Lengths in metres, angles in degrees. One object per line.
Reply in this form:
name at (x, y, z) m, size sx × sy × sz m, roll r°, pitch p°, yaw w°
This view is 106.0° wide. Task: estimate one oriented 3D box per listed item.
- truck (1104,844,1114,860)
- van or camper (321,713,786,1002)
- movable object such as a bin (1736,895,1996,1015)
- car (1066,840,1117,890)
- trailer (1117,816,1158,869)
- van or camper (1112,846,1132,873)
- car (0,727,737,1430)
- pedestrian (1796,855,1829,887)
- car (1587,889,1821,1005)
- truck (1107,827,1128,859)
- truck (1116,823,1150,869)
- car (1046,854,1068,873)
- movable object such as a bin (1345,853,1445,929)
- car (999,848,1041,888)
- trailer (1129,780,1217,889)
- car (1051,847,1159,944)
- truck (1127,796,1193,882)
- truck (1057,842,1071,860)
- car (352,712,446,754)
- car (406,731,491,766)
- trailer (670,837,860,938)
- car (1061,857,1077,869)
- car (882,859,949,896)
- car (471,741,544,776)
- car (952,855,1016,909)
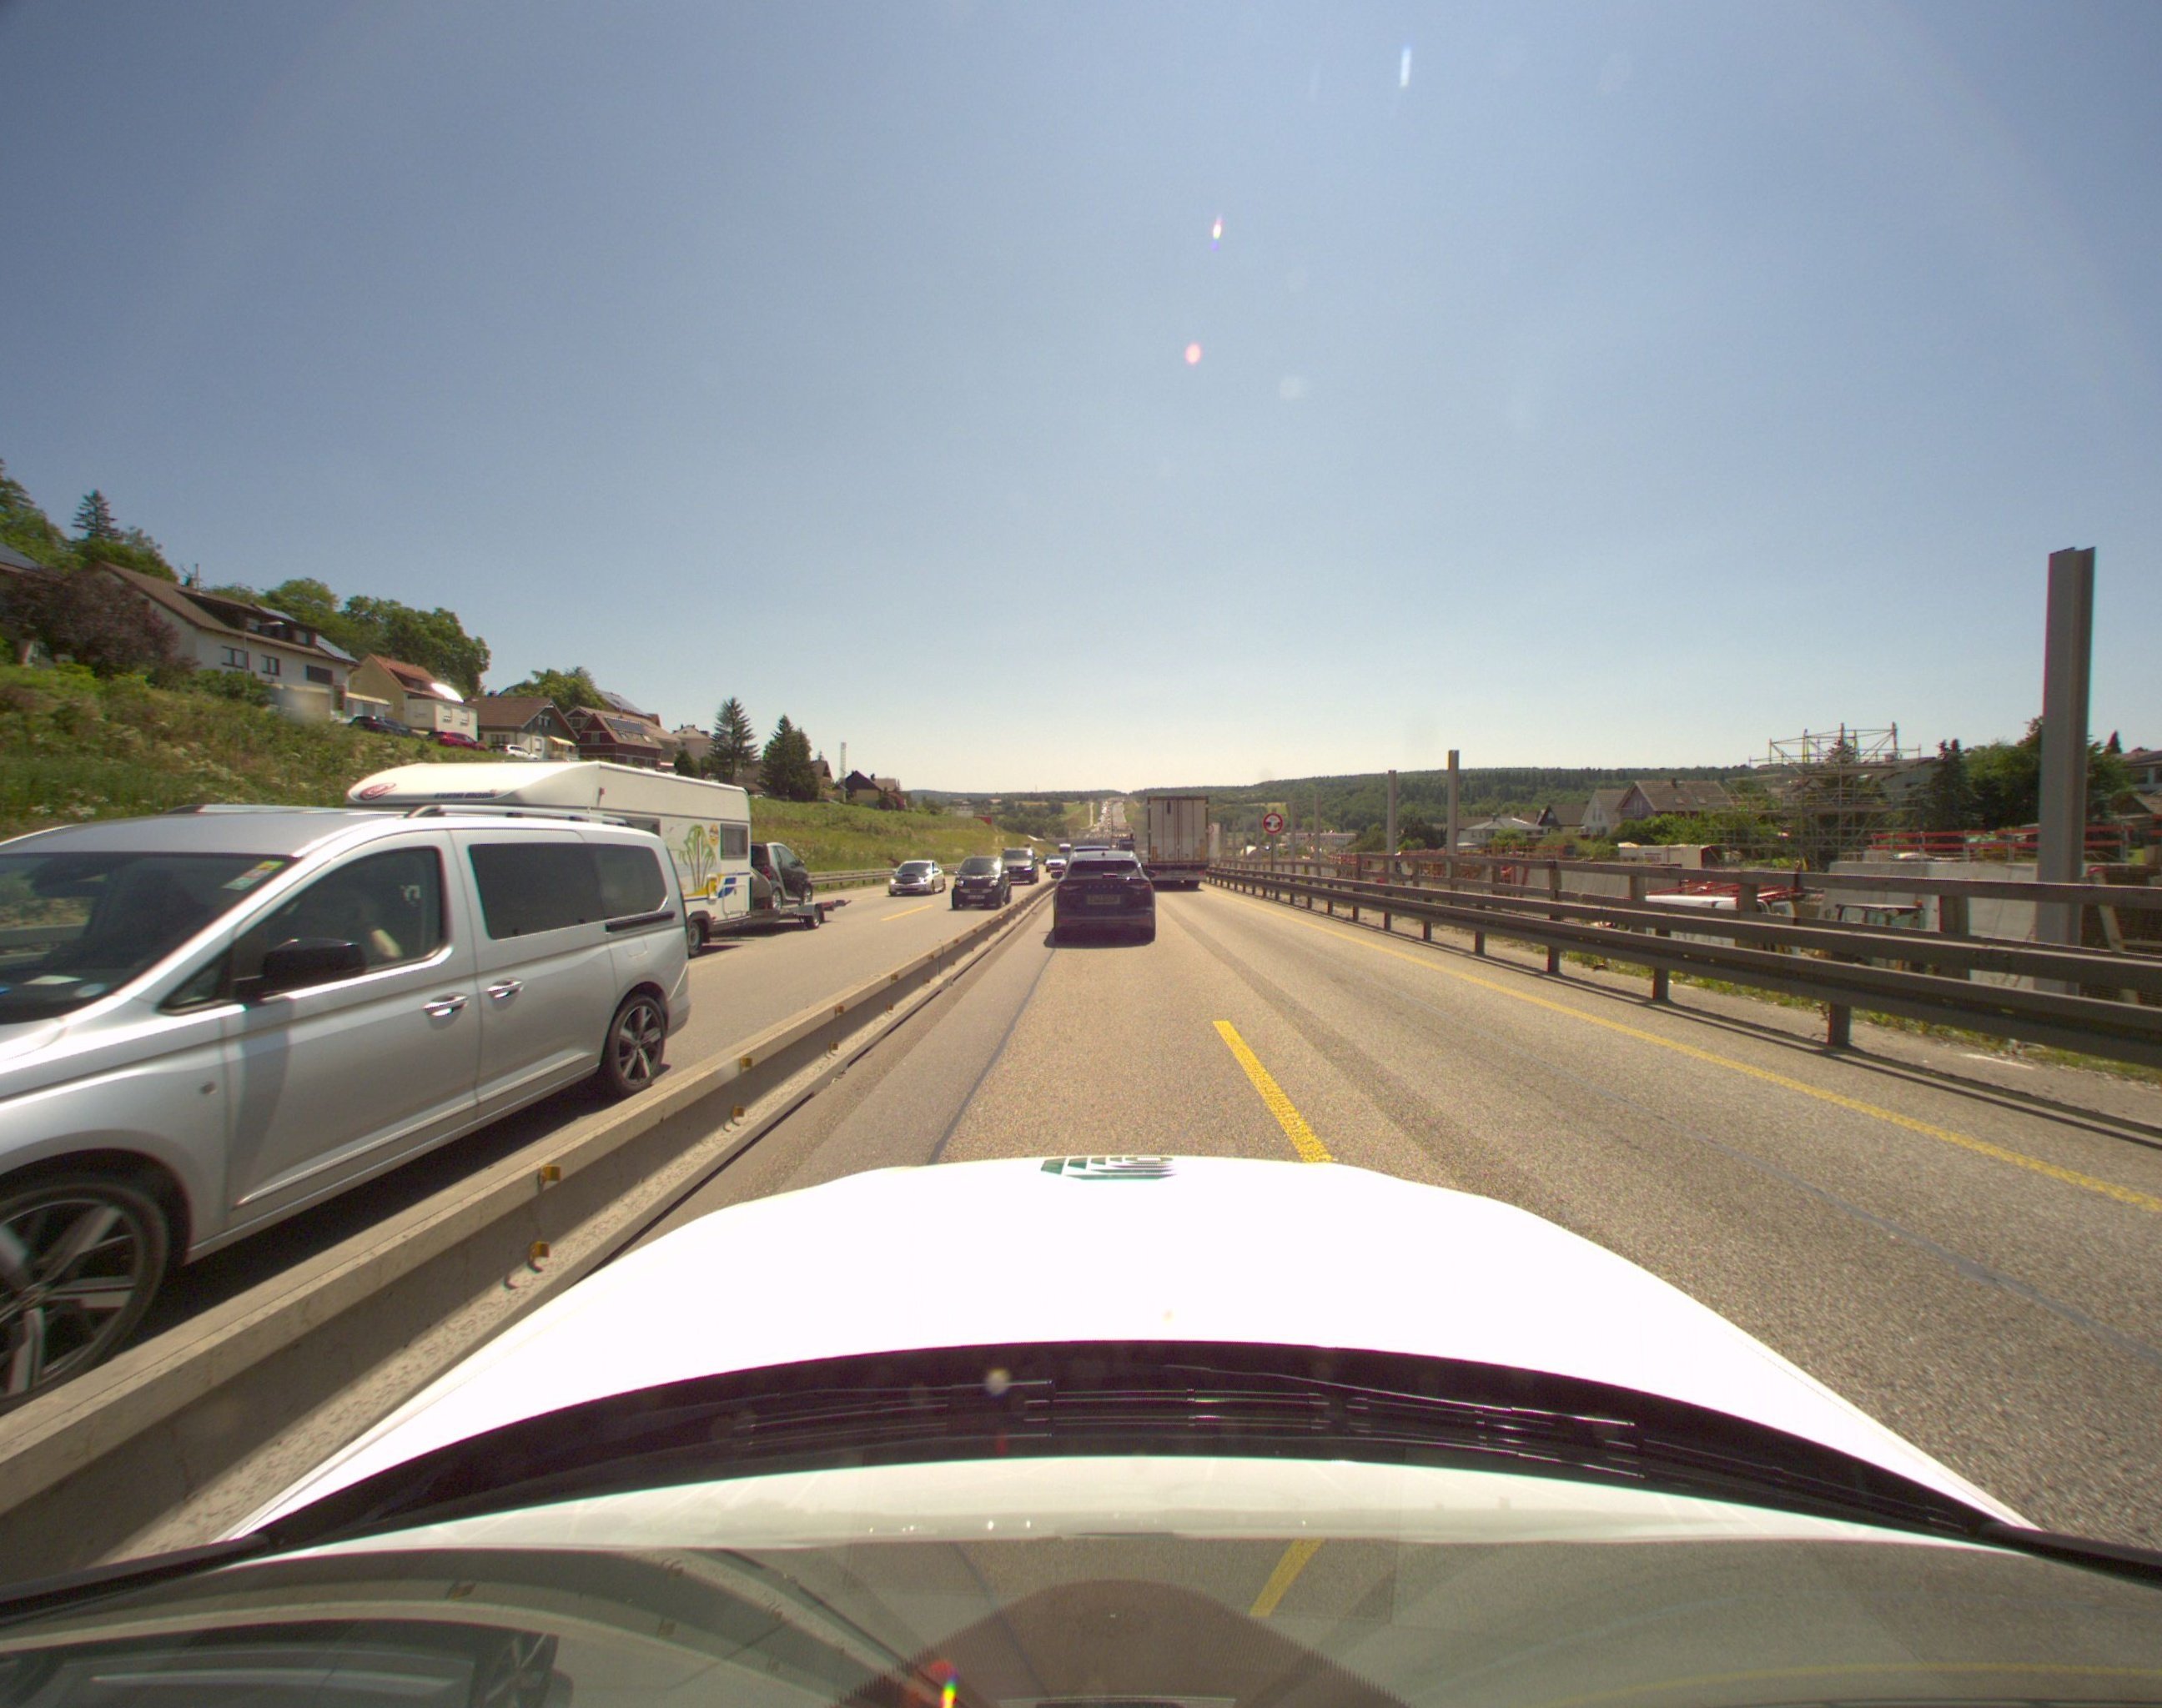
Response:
truck at (7.850, -0.508, 229.464) m, size 2.630 × 4.194 × 9.286 m, roll -1°, pitch -1°, yaw 1°
van or camper at (-6.898, 0.048, 12.167) m, size 2.283 × 3.066 × 6.925 m, roll -1°, pitch 0°, yaw 1°
movable object such as a bin at (21.016, 2.564, 22.285) m, size 2.134 × 2.676 × 5.508 m, roll -1°, pitch -1°, yaw 6°
car at (0.455, 0.481, 34.518) m, size 1.986 × 1.926 × 4.508 m, roll -1°, pitch -1°, yaw 1°
trailer at (5.157, -0.849, 77.447) m, size 3.169 × 4.513 × 14.969 m, roll -1°, pitch -1°, yaw 1°
van or camper at (5.198, 0.733, 102.651) m, size 2.378 × 3.281 × 6.474 m, roll -1°, pitch -1°, yaw 3°
car at (-3.709, 0.597, 3.993) m, size 1.831 × 1.828 × 5.040 m, roll -1°, pitch 0°, yaw 1°
pedestrian at (46.329, 1.060, 51.581) m, size 1.132 × 1.988 × 0.974 m, roll -1°, pitch -2°, yaw 4°
car at (18.308, 2.561, 24.620) m, size 2.135 × 2.856 × 7.031 m, roll -1°, pitch -1°, yaw 5°
truck at (5.625, -1.632, 127.415) m, size 2.842 × 4.465 × 11.917 m, roll -1°, pitch -1°, yaw 1°
truck at (5.338, -0.688, 84.622) m, size 3.169 × 4.513 × 8.166 m, roll -1°, pitch -1°, yaw 1°
car at (-2.144, 0.827, 73.732) m, size 1.800 × 1.640 × 4.172 m, roll -1°, pitch 0°, yaw 0°
movable object such as a bin at (21.272, 2.415, 55.909) m, size 3.216 × 4.743 × 9.656 m, roll -1°, pitch -1°, yaw 1°
car at (-3.257, 0.730, 44.331) m, size 1.904 × 2.014 × 4.905 m, roll -1°, pitch 0°, yaw 0°
trailer at (4.242, -0.834, 40.705) m, size 3.169 × 4.513 × 13.112 m, roll -1°, pitch 0°, yaw 1°
car at (0.473, 0.714, 15.651) m, size 1.795 × 1.607 × 4.002 m, roll -1°, pitch -1°, yaw 2°
truck at (4.385, -0.800, 47.195) m, size 3.169 × 4.513 × 8.168 m, roll -1°, pitch 0°, yaw 1°
truck at (-3.588, -0.702, 172.259) m, size 2.769 × 3.672 × 6.278 m, roll -1°, pitch 0°, yaw 1°
car at (-42.894, -7.562, 51.376) m, size 2.175 × 1.794 × 4.754 m, roll -1°, pitch -1°, yaw -5°
car at (-44.555, -7.405, 57.549) m, size 2.341 × 1.794 × 4.797 m, roll -1°, pitch -1°, yaw -2°
trailer at (-6.712, 0.648, 18.061) m, size 2.094 × 1.894 × 5.142 m, roll -1°, pitch 0°, yaw 1°
car at (-1.501, 1.121, 102.288) m, size 1.791 × 1.466 × 4.356 m, roll -2°, pitch 0°, yaw 1°
car at (-6.837, 0.939, 34.122) m, size 1.803 × 1.431 × 4.556 m, roll 0°, pitch 0°, yaw 1°
car at (-44.840, -7.428, 63.840) m, size 2.341 × 2.041 × 4.814 m, roll -1°, pitch -1°, yaw -2°
car at (-2.842, 0.790, 24.331) m, size 1.478 × 1.505 × 2.806 m, roll -1°, pitch 0°, yaw 1°
